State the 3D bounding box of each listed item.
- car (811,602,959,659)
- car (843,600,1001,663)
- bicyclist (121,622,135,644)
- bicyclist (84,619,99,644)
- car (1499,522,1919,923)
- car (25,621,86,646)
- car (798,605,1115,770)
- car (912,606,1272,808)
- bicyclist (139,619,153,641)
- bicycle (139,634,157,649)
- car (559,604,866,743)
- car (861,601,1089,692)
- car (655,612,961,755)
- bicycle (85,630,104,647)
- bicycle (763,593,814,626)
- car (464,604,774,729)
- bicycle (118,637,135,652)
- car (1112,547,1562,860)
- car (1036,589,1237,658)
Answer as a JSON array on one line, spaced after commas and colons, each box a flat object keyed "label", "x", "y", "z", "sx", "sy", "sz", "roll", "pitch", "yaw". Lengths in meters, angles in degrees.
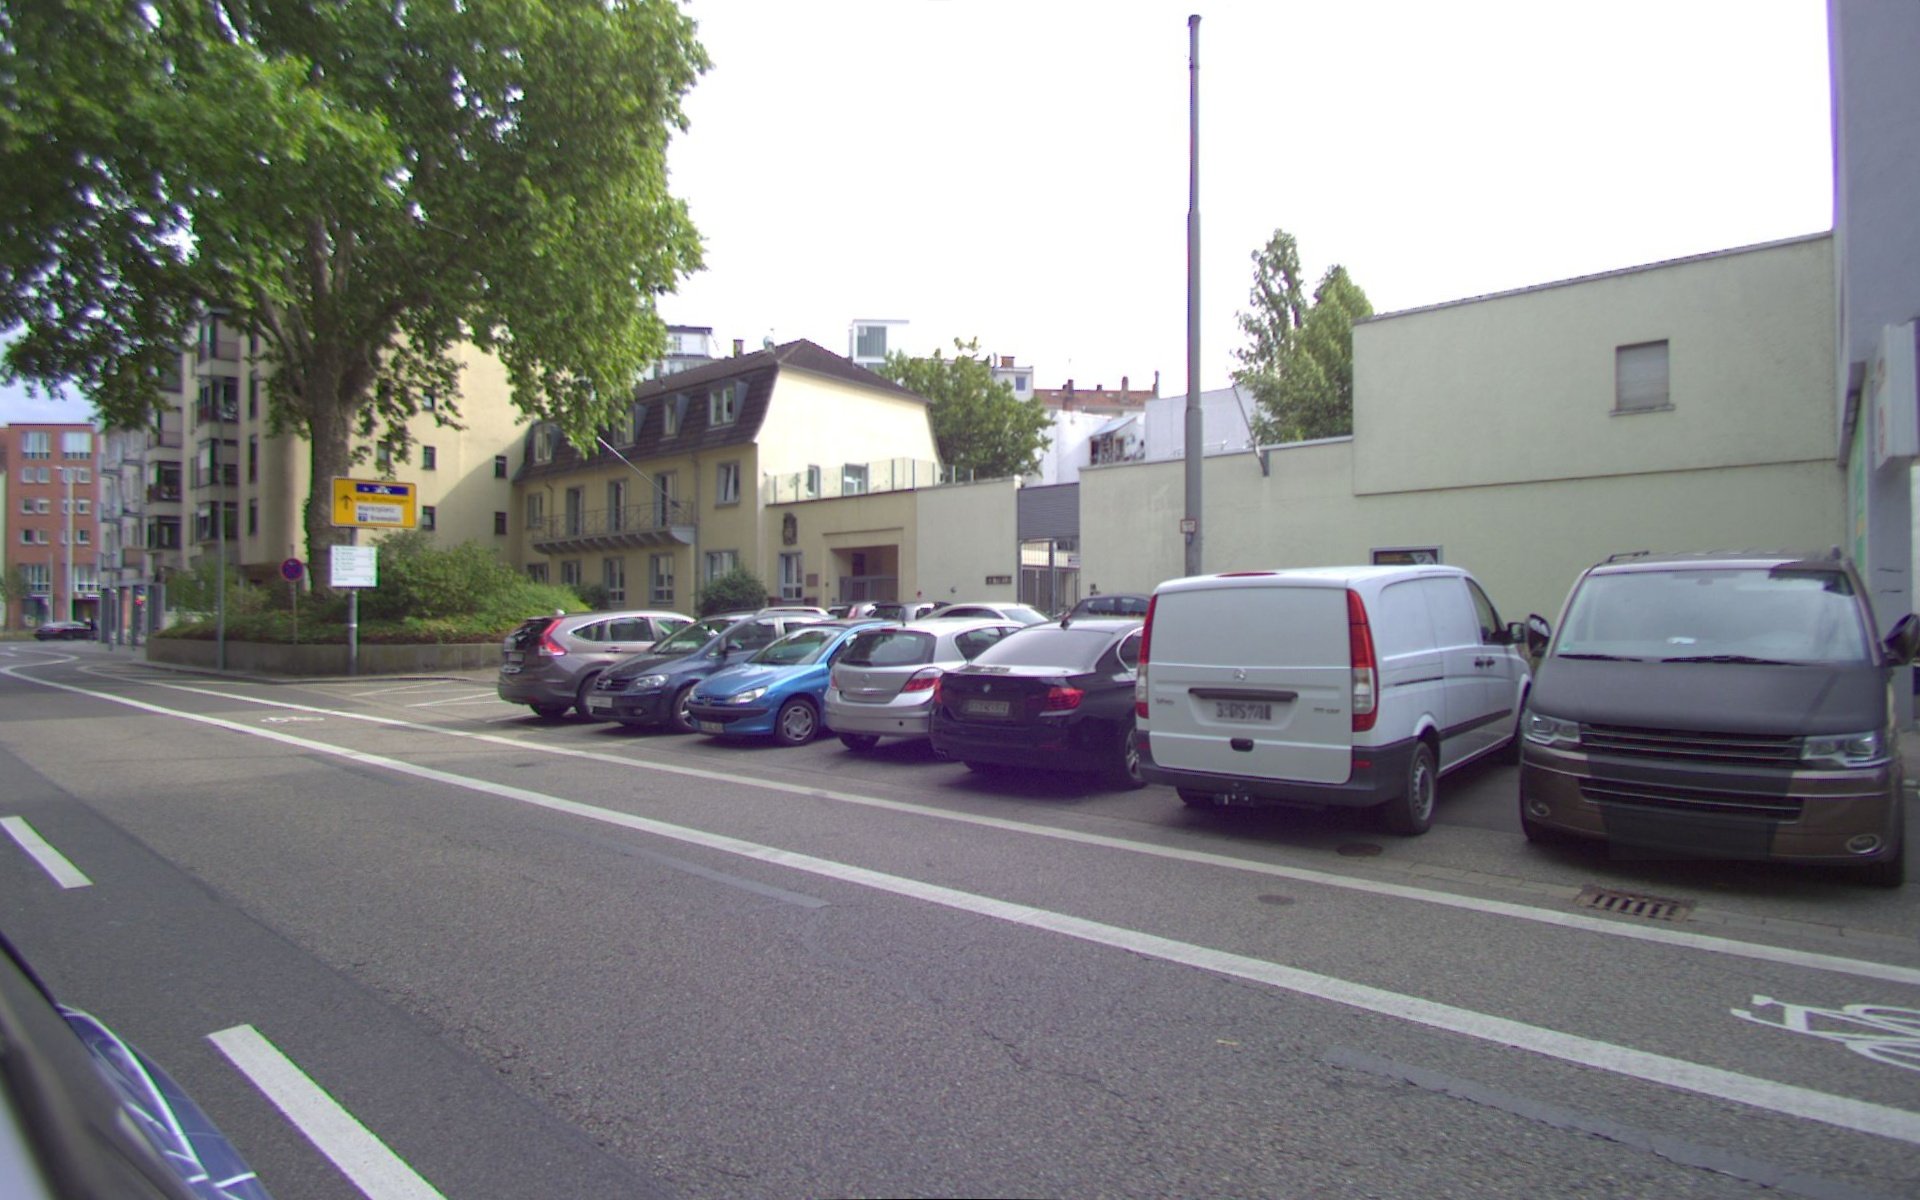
[{"label": "car", "x": -2.088, "y": 0.824, "z": 28.811, "sx": 1.892, "sy": 1.431, "sz": 3.942, "roll": -1, "pitch": 0, "yaw": 45}, {"label": "car", "x": -0.959, "y": 0.800, "z": 26.922, "sx": 1.918, "sy": 1.477, "sz": 3.942, "roll": -1, "pitch": 0, "yaw": 45}, {"label": "bicyclist", "x": -58.692, "y": 2.342, "z": 71.363, "sx": 0.857, "sy": 1.537, "sz": 0.649, "roll": -2, "pitch": -1, "yaw": 45}, {"label": "bicyclist", "x": -56.902, "y": 2.064, "z": 66.271, "sx": 0.649, "sy": 1.537, "sz": 1.077, "roll": -1, "pitch": -2, "yaw": -45}, {"label": "car", "x": 5.530, "y": 0.526, "z": 7.208, "sx": 1.998, "sy": 1.917, "sz": 4.867, "roll": -1, "pitch": 1, "yaw": 40}, {"label": "car", "x": -63.934, "y": 2.391, "z": 71.621, "sx": 1.785, "sy": 1.419, "sz": 4.622, "roll": -2, "pitch": -5, "yaw": -22}, {"label": "car", "x": 0.093, "y": 0.881, "z": 11.791, "sx": 1.752, "sy": 1.497, "sz": 3.645, "roll": -2, "pitch": 0, "yaw": 39}, {"label": "car", "x": 1.423, "y": 0.857, "z": 9.812, "sx": 1.752, "sy": 1.455, "sz": 3.645, "roll": -2, "pitch": 0, "yaw": 40}, {"label": "bicyclist", "x": -56.920, "y": 2.098, "z": 70.748, "sx": 0.841, "sy": 1.537, "sz": 0.649, "roll": -3, "pitch": -2, "yaw": 45}, {"label": "bicycle", "x": -56.363, "y": 2.871, "z": 70.217, "sx": 0.729, "sy": 1.014, "sz": 2.253, "roll": -1, "pitch": -1, "yaw": -45}, {"label": "car", "x": -3.399, "y": 0.925, "z": 14.416, "sx": 1.753, "sy": 1.581, "sz": 3.898, "roll": -2, "pitch": 0, "yaw": 43}, {"label": "car", "x": 0.197, "y": 0.842, "z": 19.355, "sx": 4.232, "sy": 1.530, "sz": 1.739, "roll": -2, "pitch": 0, "yaw": 41}, {"label": "car", "x": -1.834, "y": 0.956, "z": 13.039, "sx": 1.752, "sy": 1.437, "sz": 3.645, "roll": -2, "pitch": 0, "yaw": 39}, {"label": "bicycle", "x": -56.797, "y": 2.542, "z": 66.407, "sx": 2.195, "sy": 1.014, "sz": 0.729, "roll": -3, "pitch": -1, "yaw": 44}, {"label": "bicycle", "x": -5.747, "y": 0.319, "z": 34.019, "sx": 0.399, "sy": 1.052, "sz": 1.779, "roll": -3, "pitch": -1, "yaw": 42}, {"label": "car", "x": -5.267, "y": 0.958, "z": 16.054, "sx": 1.967, "sy": 1.618, "sz": 4.212, "roll": -3, "pitch": -1, "yaw": 41}, {"label": "bicycle", "x": -58.838, "y": 3.173, "z": 71.439, "sx": 1.976, "sy": 1.014, "sz": 0.729, "roll": -3, "pitch": -1, "yaw": 44}, {"label": "car", "x": 3.380, "y": 0.588, "z": 8.481, "sx": 2.046, "sy": 1.892, "sz": 4.479, "roll": -1, "pitch": 0, "yaw": 41}, {"label": "car", "x": 3.872, "y": 0.538, "z": 22.436, "sx": 3.991, "sy": 1.342, "sz": 1.796, "roll": -3, "pitch": -1, "yaw": 35}]
